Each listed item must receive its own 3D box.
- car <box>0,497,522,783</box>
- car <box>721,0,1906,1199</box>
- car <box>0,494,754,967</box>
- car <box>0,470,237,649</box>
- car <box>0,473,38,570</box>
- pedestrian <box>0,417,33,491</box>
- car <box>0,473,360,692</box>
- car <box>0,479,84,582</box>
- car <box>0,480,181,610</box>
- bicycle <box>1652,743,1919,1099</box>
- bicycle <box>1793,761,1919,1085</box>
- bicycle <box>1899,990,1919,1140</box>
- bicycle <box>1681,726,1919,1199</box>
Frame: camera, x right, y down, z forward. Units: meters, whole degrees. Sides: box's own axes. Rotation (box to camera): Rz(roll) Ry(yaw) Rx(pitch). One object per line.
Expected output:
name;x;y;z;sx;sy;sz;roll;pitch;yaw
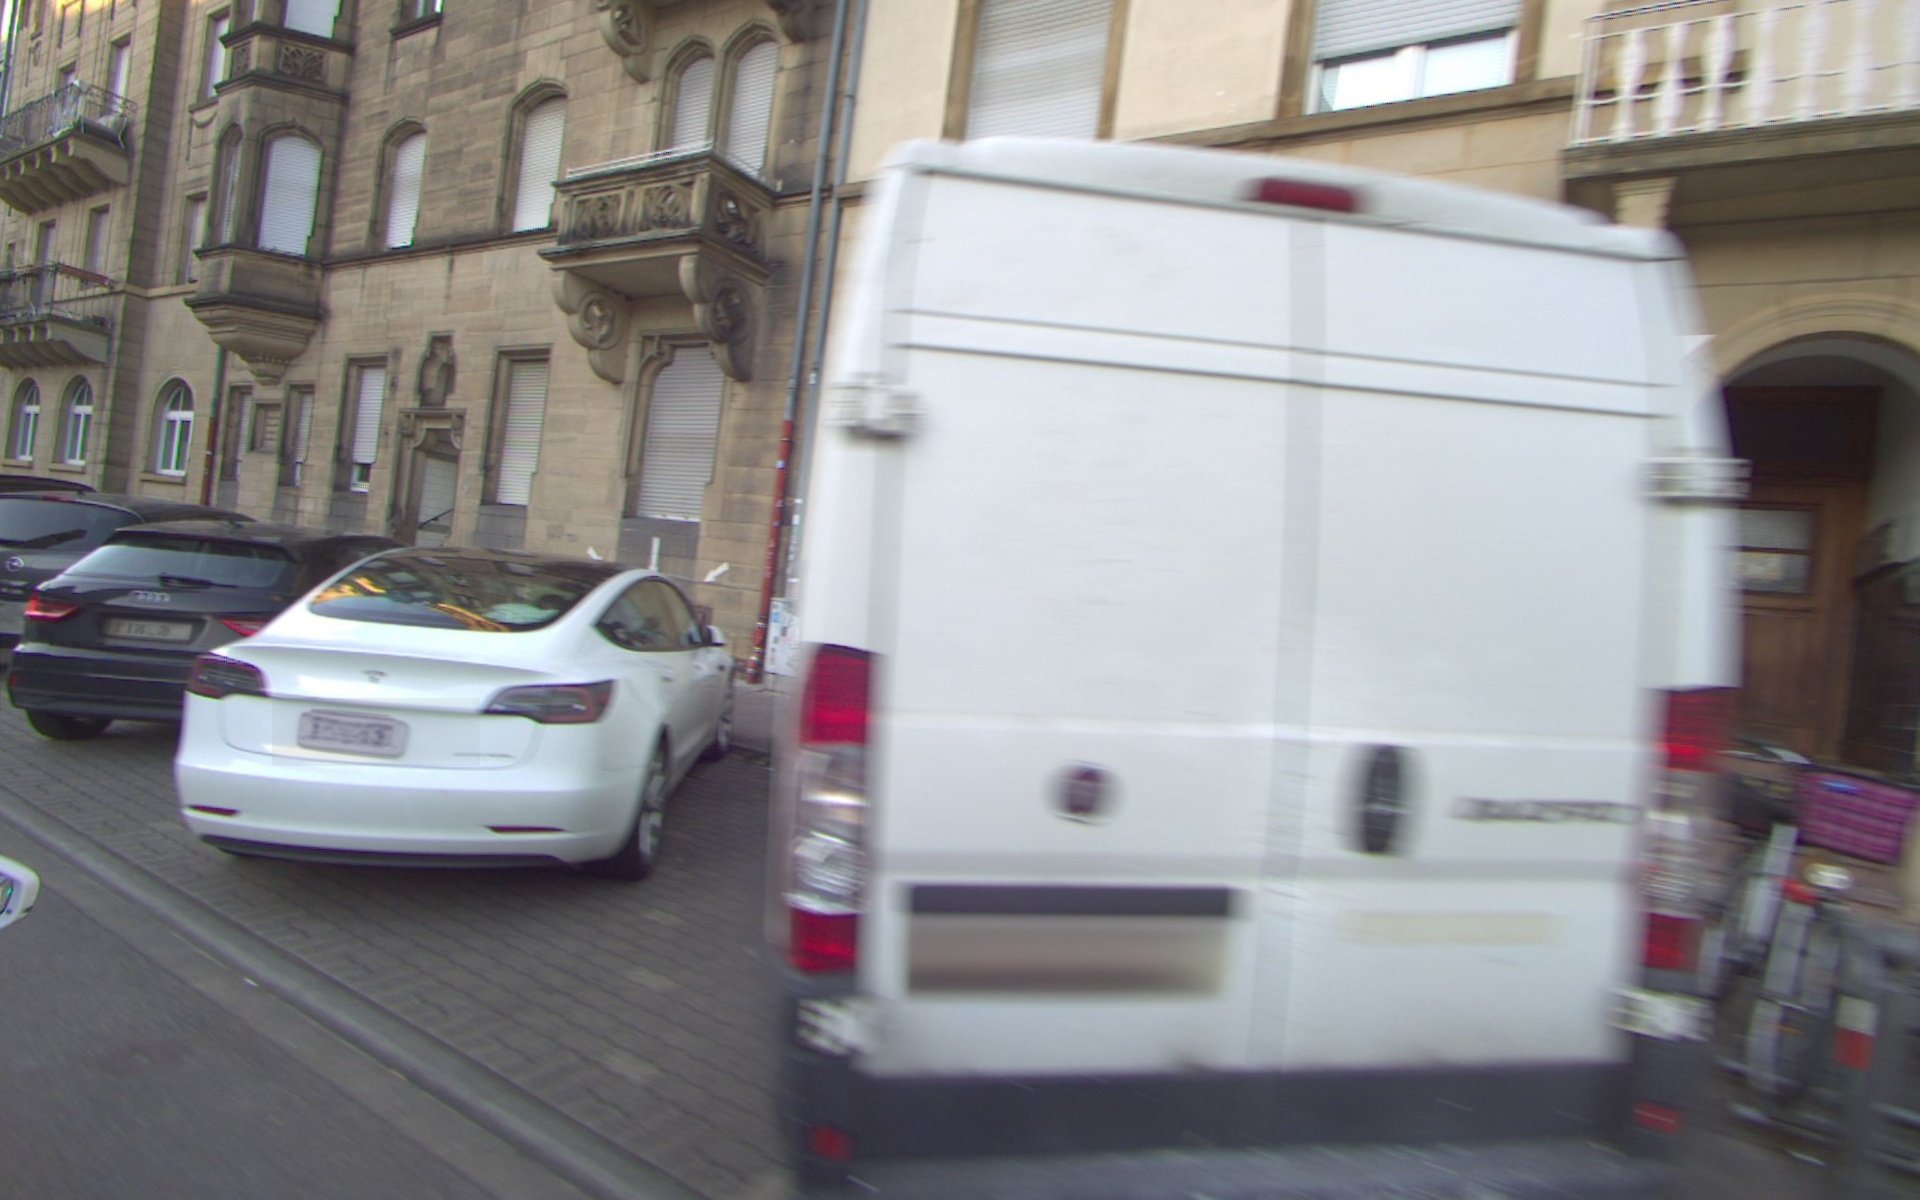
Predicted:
car;-4.888;0.176;7.503;1.842;1.465;3.909;5;1;-7
car;0.306;0.197;4.795;2.158;2.584;5.875;5;1;-8
car;-2.429;0.455;5.619;1.965;1.471;4.249;6;0;-6
car;-9.705;-0.483;10.329;1.784;1.628;4.093;6;1;-5
car;-16.743;-1.385;15.090;1.761;1.565;4.122;5;0;4
pedestrian;-21.330;-2.983;22.076;0.844;2.021;0.613;9;-15;35
car;-7.432;-0.210;9.395;1.687;1.565;3.908;5;1;-9
car;-14.391;-1.051;13.442;1.834;1.450;4.030;6;1;-2
car;-12.051;-0.744;12.447;1.722;1.518;4.053;6;1;-3
bicycle;3.652;1.288;4.526;0.532;1.023;1.774;7;2;27
bicycle;4.142;1.328;4.190;0.532;1.023;1.774;7;2;27
bicycle;3.098;1.233;2.368;0.532;1.102;1.999;7;2;23
bicycle;2.591;1.081;2.684;0.532;1.220;1.999;7;2;23
